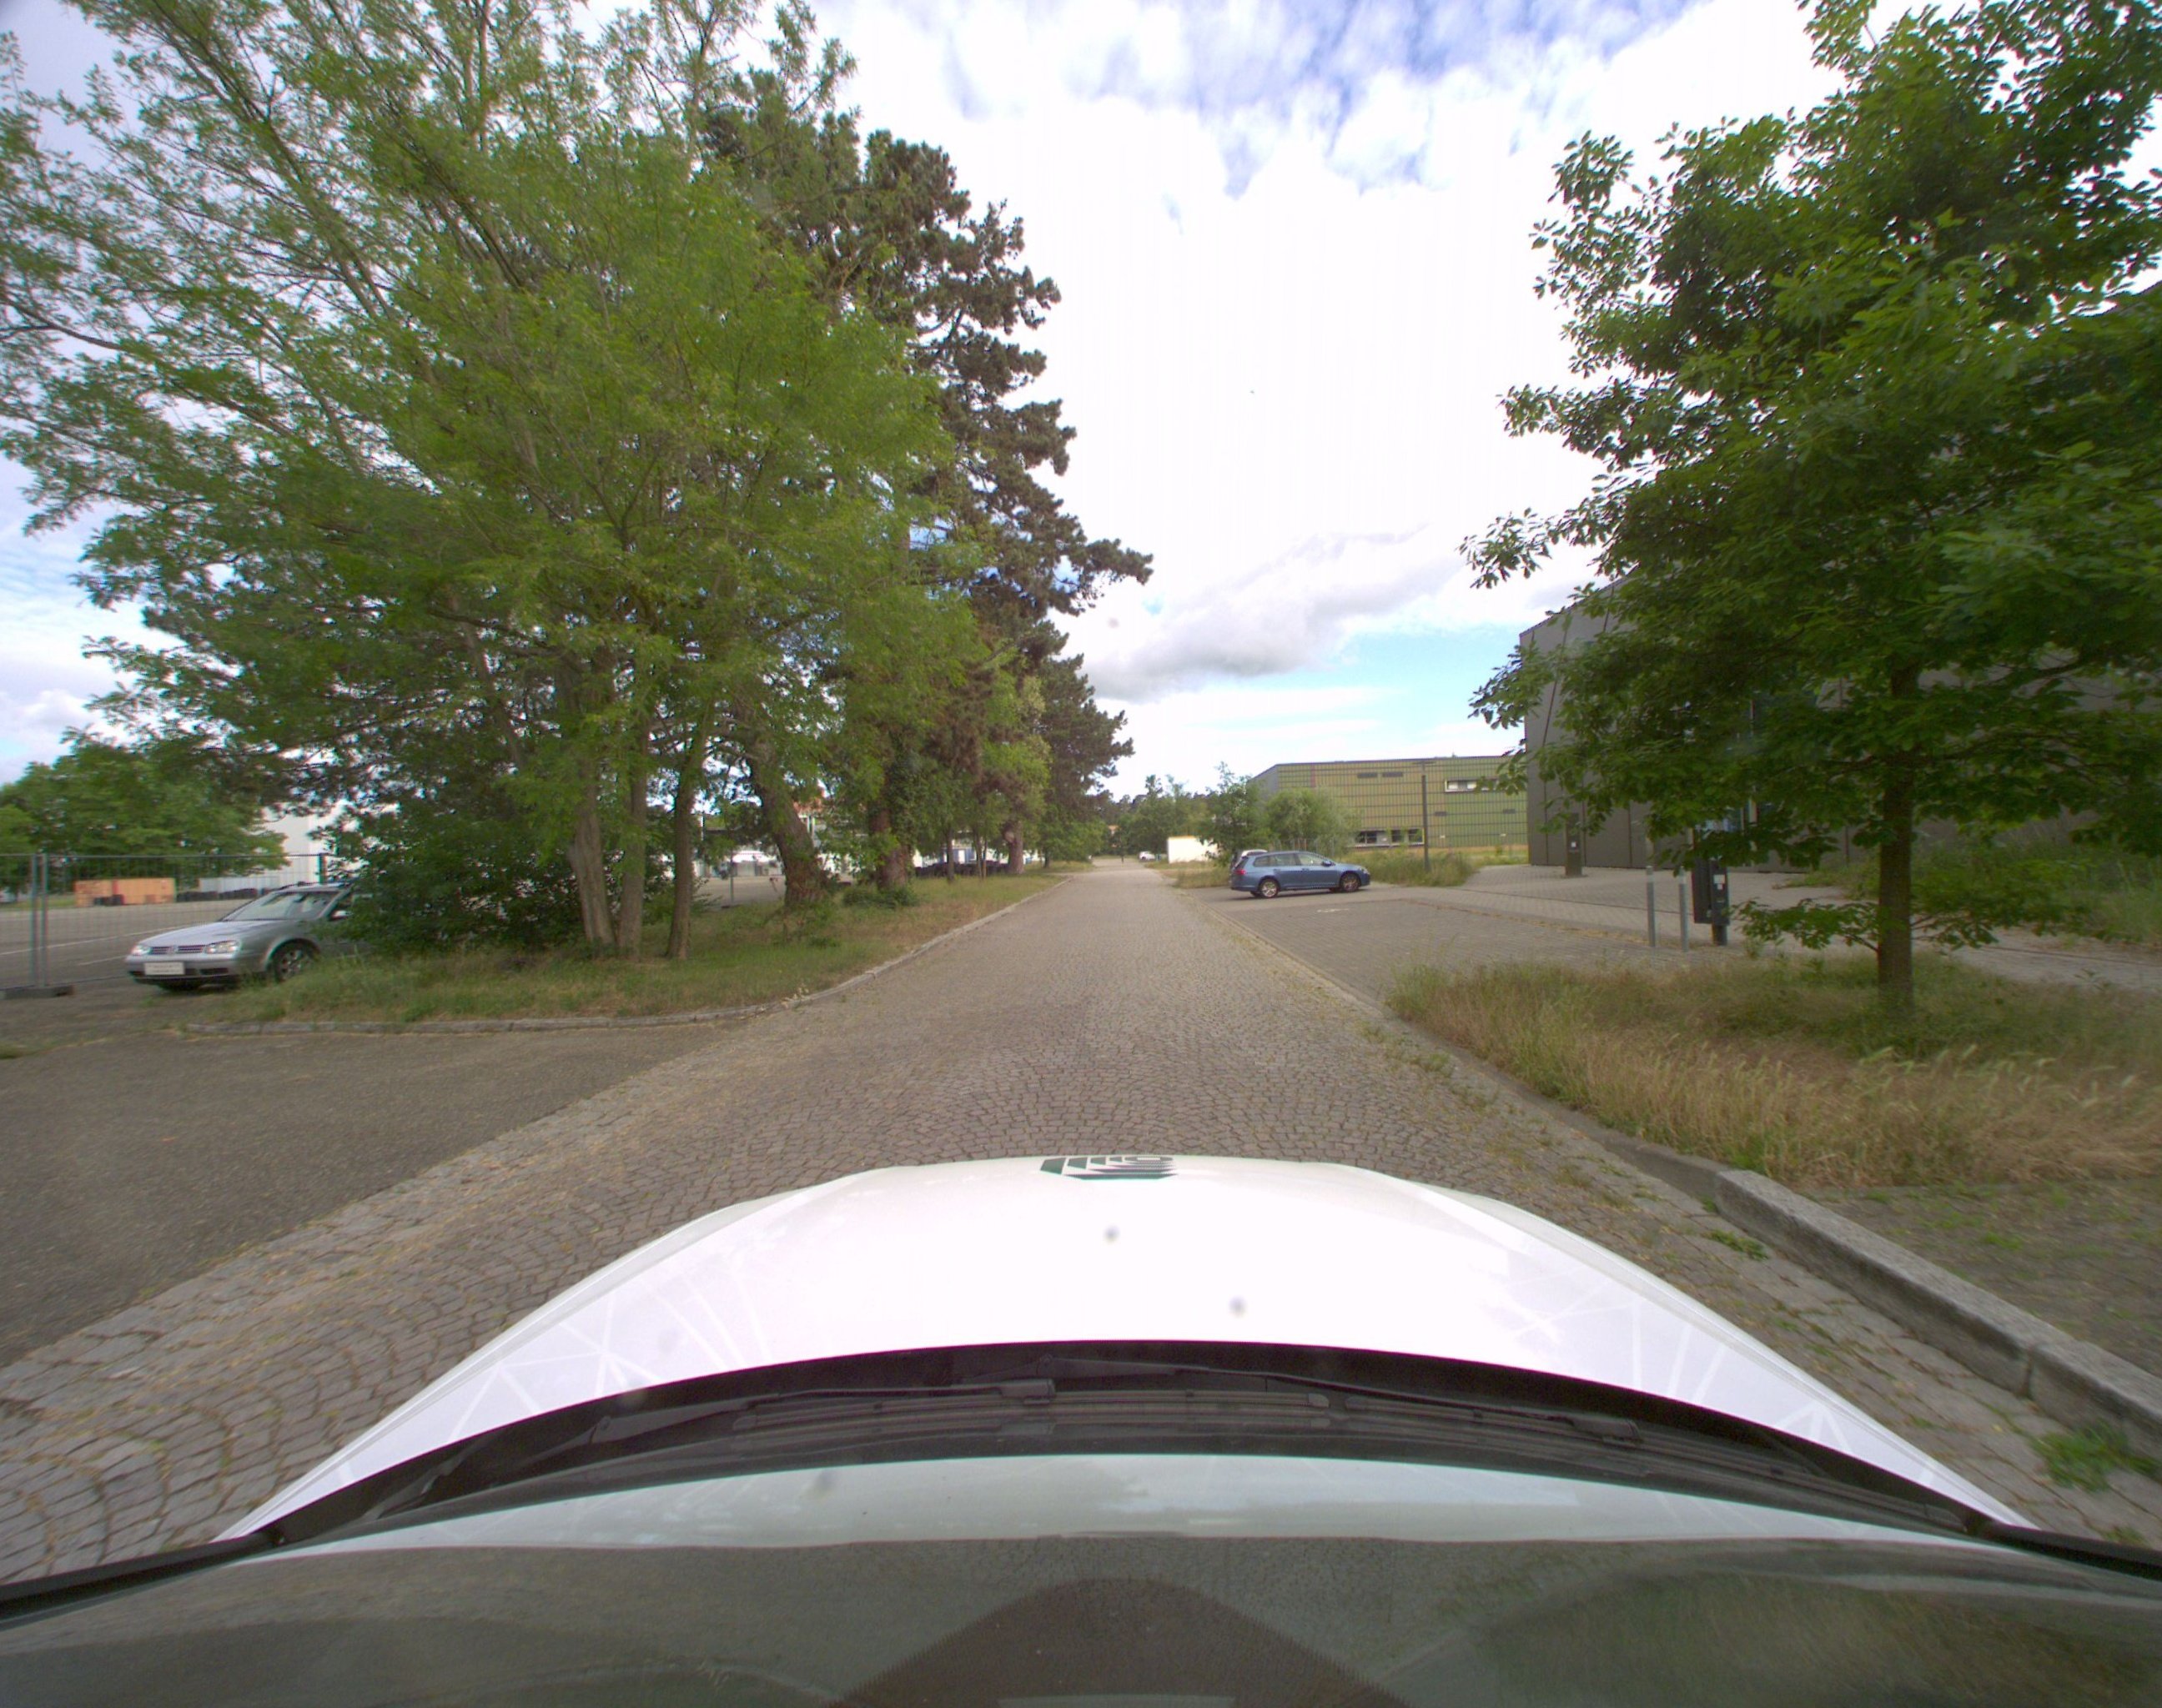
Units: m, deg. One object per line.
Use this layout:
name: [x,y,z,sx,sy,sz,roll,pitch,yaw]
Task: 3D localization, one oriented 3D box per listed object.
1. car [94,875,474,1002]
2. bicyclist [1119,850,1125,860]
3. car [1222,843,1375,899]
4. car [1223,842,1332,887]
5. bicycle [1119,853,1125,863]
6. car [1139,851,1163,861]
car: [-12.041,1.161,12.800,1.723,1.432,4.164,-2,1,2]
bicyclist: [6.250,0.154,123.836,0.894,1.542,0.868,-2,1,1]
car: [7.098,0.539,26.882,4.466,1.462,1.934,-4,0,0]
car: [8.204,0.425,34.306,4.094,1.572,1.765,-4,0,0]
bicycle: [6.266,0.568,123.782,0.820,1.376,2.043,-2,1,2]
car: [12.612,0.383,146.660,4.303,1.549,2.002,-2,0,4]
